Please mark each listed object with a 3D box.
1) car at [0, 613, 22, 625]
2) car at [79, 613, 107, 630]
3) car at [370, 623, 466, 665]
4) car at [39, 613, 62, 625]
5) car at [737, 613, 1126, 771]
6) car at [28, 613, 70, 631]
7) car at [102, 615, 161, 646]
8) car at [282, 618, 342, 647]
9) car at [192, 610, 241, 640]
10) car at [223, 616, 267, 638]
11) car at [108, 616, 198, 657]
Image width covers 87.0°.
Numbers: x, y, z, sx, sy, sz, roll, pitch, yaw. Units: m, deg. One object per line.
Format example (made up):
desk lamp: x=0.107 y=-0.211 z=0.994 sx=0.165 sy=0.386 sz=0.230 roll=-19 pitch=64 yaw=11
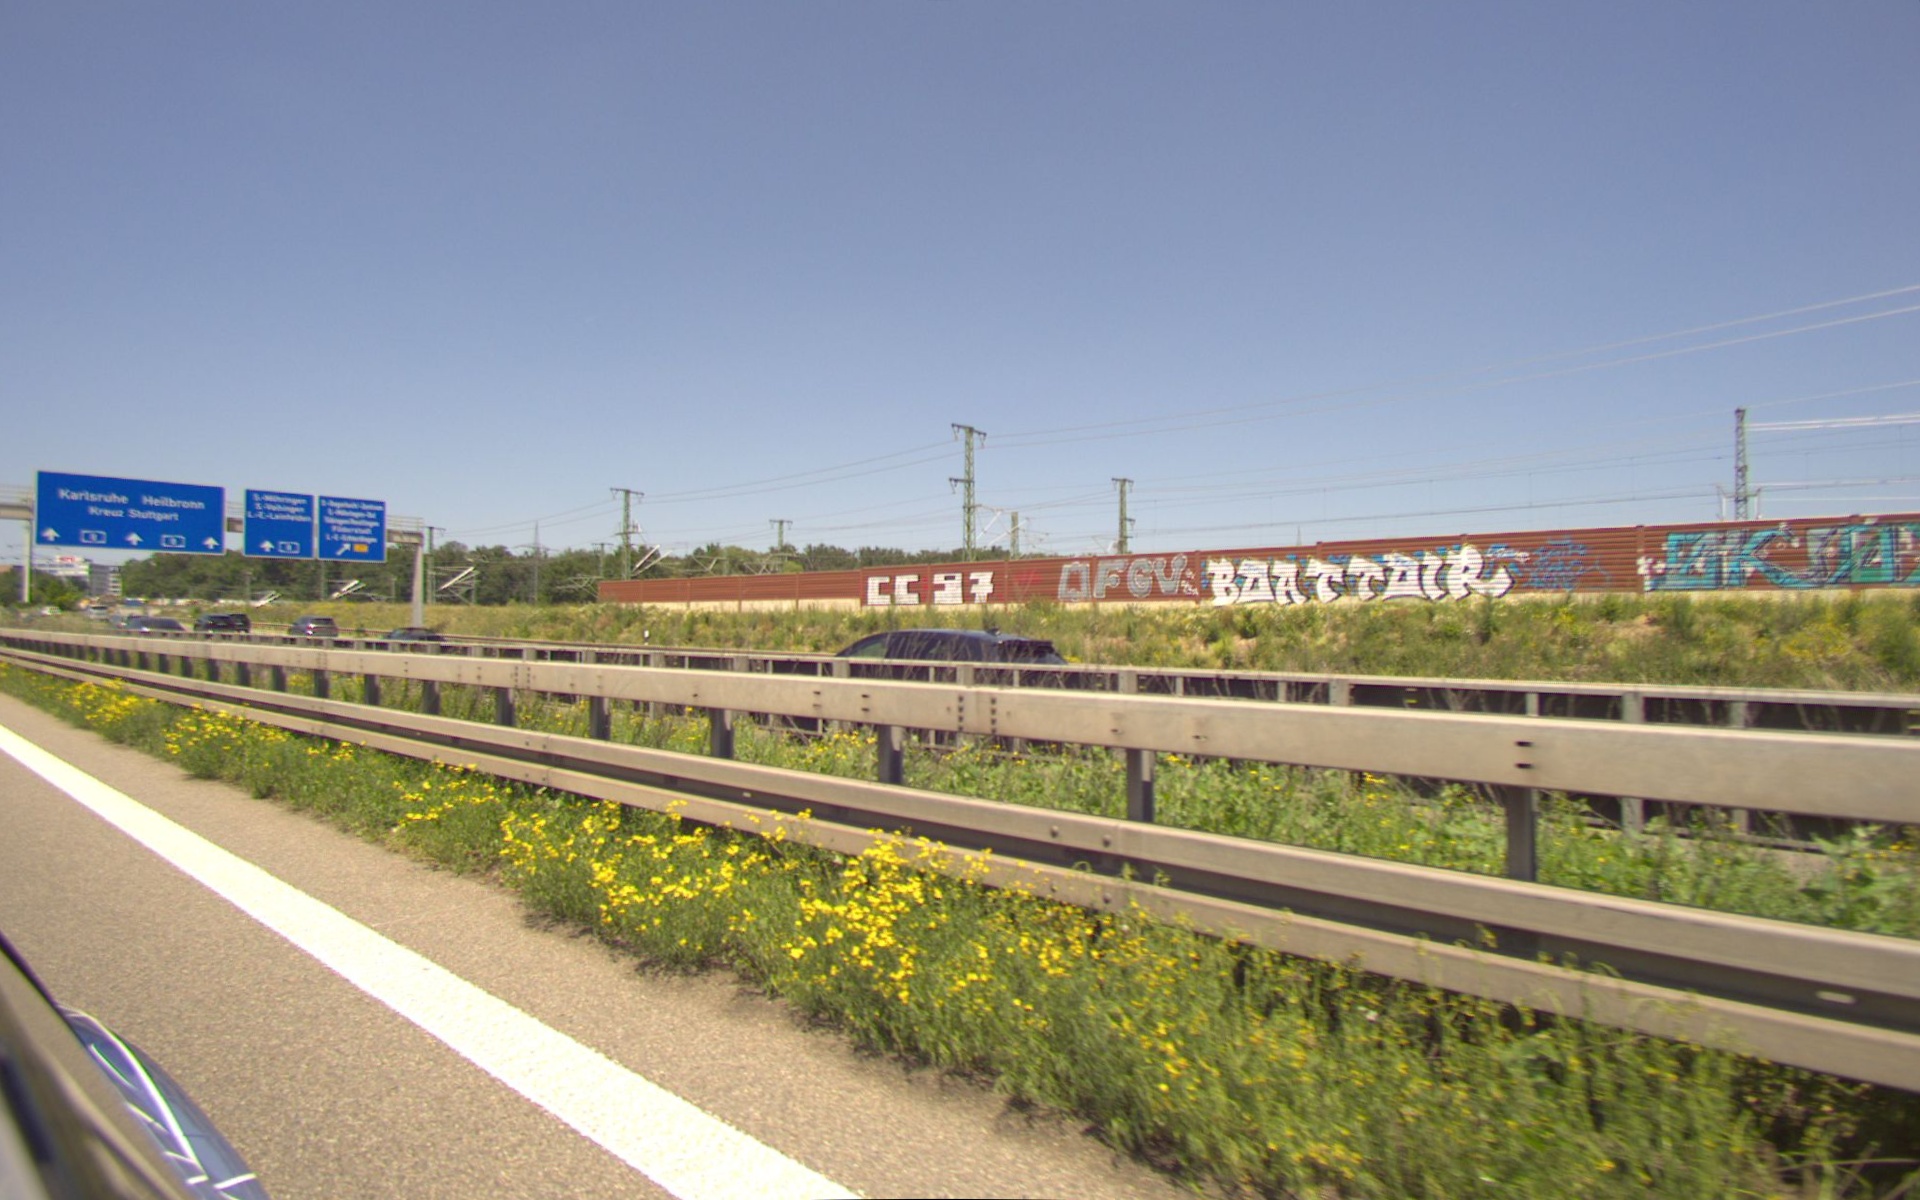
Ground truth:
car: x=-133.474 y=2.643 z=142.378 sx=4.477 sy=1.588 sz=1.972 roll=0 pitch=0 yaw=43
car: x=-104.659 y=2.588 z=122.160 sx=4.976 sy=1.900 sz=1.972 roll=-1 pitch=-1 yaw=42
car: x=-20.897 y=1.682 z=38.983 sx=3.930 sy=1.498 sz=1.972 roll=-1 pitch=-3 yaw=41
car: x=-128.505 y=2.710 z=142.953 sx=4.475 sy=1.588 sz=1.972 roll=0 pitch=0 yaw=42
car: x=-0.471 y=0.917 z=11.819 sx=4.383 sy=1.475 sz=1.973 roll=-1 pitch=-1 yaw=41
car: x=-74.863 y=1.801 z=83.122 sx=4.508 sy=1.405 sz=1.849 roll=-1 pitch=-1 yaw=39
car: x=-47.899 y=1.763 z=58.514 sx=4.186 sy=1.708 sz=1.972 roll=-1 pitch=-2 yaw=41
car: x=-40.052 y=1.971 z=62.480 sx=4.511 sy=1.739 sz=1.973 roll=-1 pitch=-1 yaw=41
car: x=-53.693 y=1.760 z=73.091 sx=4.308 sy=2.029 sz=1.973 roll=0 pitch=1 yaw=41
car: x=-58.718 y=2.165 z=83.060 sx=4.512 sy=1.739 sz=1.972 roll=-1 pitch=-1 yaw=42
car: x=-31.318 y=1.397 z=39.236 sx=4.152 sy=1.498 sz=1.972 roll=-1 pitch=-3 yaw=41
